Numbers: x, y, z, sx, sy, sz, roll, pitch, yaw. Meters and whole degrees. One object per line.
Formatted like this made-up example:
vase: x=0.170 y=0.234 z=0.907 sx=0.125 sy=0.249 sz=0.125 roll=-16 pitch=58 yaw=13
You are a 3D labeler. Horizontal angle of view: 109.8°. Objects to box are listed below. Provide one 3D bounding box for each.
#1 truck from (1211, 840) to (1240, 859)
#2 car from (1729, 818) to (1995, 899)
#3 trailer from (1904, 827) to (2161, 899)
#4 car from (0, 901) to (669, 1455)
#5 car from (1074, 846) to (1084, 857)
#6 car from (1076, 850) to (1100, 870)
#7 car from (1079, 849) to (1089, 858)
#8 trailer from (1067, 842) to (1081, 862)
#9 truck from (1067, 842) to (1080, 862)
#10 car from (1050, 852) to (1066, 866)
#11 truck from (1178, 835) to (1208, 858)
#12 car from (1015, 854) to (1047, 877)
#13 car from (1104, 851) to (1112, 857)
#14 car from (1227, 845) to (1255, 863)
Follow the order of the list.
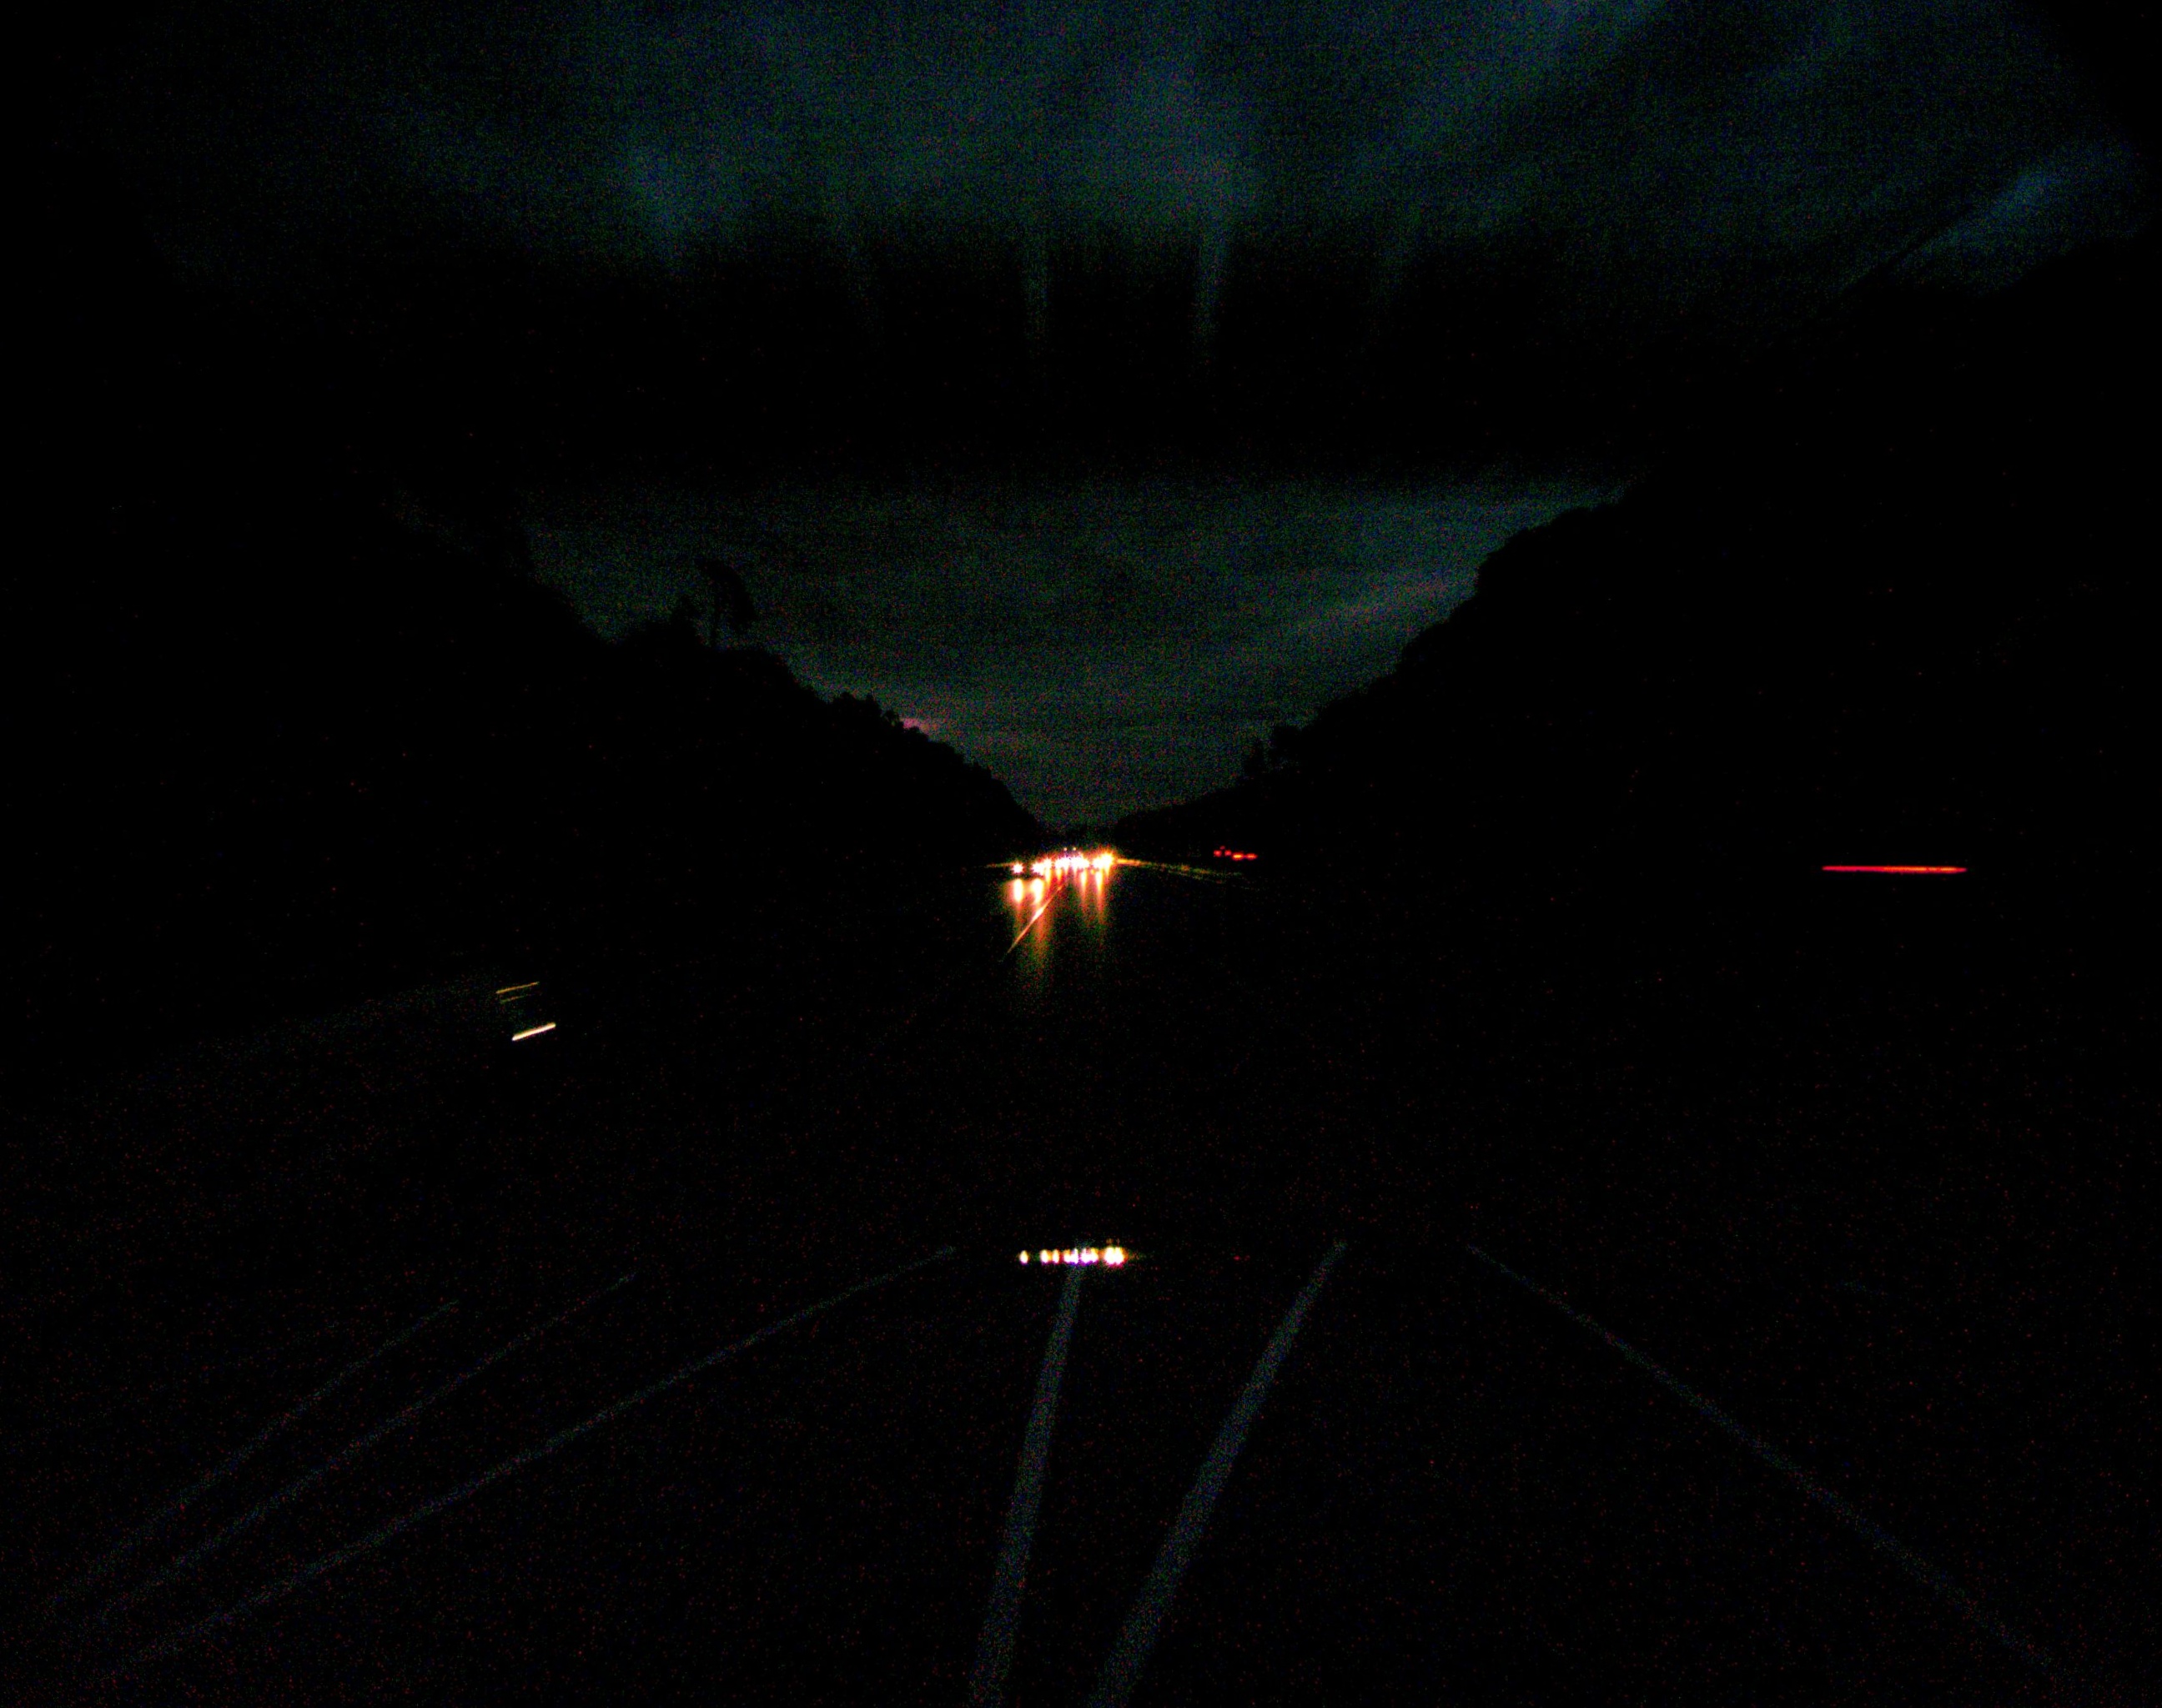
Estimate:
truck: x=19.883 y=-0.630 z=105.158 sx=2.467 sy=2.495 sz=9.755 roll=-2 pitch=0 yaw=2
car: x=19.195 y=0.079 z=19.068 sx=1.998 sy=1.725 sz=4.573 roll=-2 pitch=0 yaw=1
trailer: x=19.125 y=0.145 z=15.171 sx=1.998 sy=1.242 sz=3.122 roll=-2 pitch=1 yaw=1
car: x=-3.976 y=1.019 z=3.364 sx=1.830 sy=1.466 sz=4.400 roll=0 pitch=-1 yaw=1
car: x=-0.730 y=-0.886 z=253.890 sx=2.998 sy=3.659 sz=9.999 roll=-2 pitch=0 yaw=1
car: x=0.708 y=0.529 z=71.199 sx=1.869 sy=1.701 sz=4.585 roll=-3 pitch=0 yaw=5
car: x=0.511 y=-0.107 z=137.987 sx=1.695 sy=1.481 sz=4.949 roll=-1 pitch=1 yaw=1
trailer: x=-1.526 y=-0.568 z=170.615 sx=2.489 sy=4.050 sz=13.502 roll=-2 pitch=1 yaw=1
truck: x=-1.653 y=-0.445 z=163.055 sx=2.498 sy=3.945 sz=5.589 roll=-2 pitch=2 yaw=1
car: x=-2.745 y=0.590 z=92.013 sx=1.695 sy=1.481 sz=4.948 roll=-1 pitch=0 yaw=1
truck: x=20.733 y=-1.289 z=141.928 sx=3.365 sy=3.980 sz=14.496 roll=-1 pitch=0 yaw=0
car: x=-3.465 y=0.773 z=53.502 sx=1.870 sy=1.427 sz=4.583 roll=-3 pitch=0 yaw=0
car: x=6.188 y=-0.019 z=174.189 sx=1.695 sy=1.481 sz=4.949 roll=-1 pitch=1 yaw=1
car: x=15.567 y=0.005 z=74.127 sx=1.740 sy=1.705 sz=4.714 roll=-2 pitch=0 yaw=0
